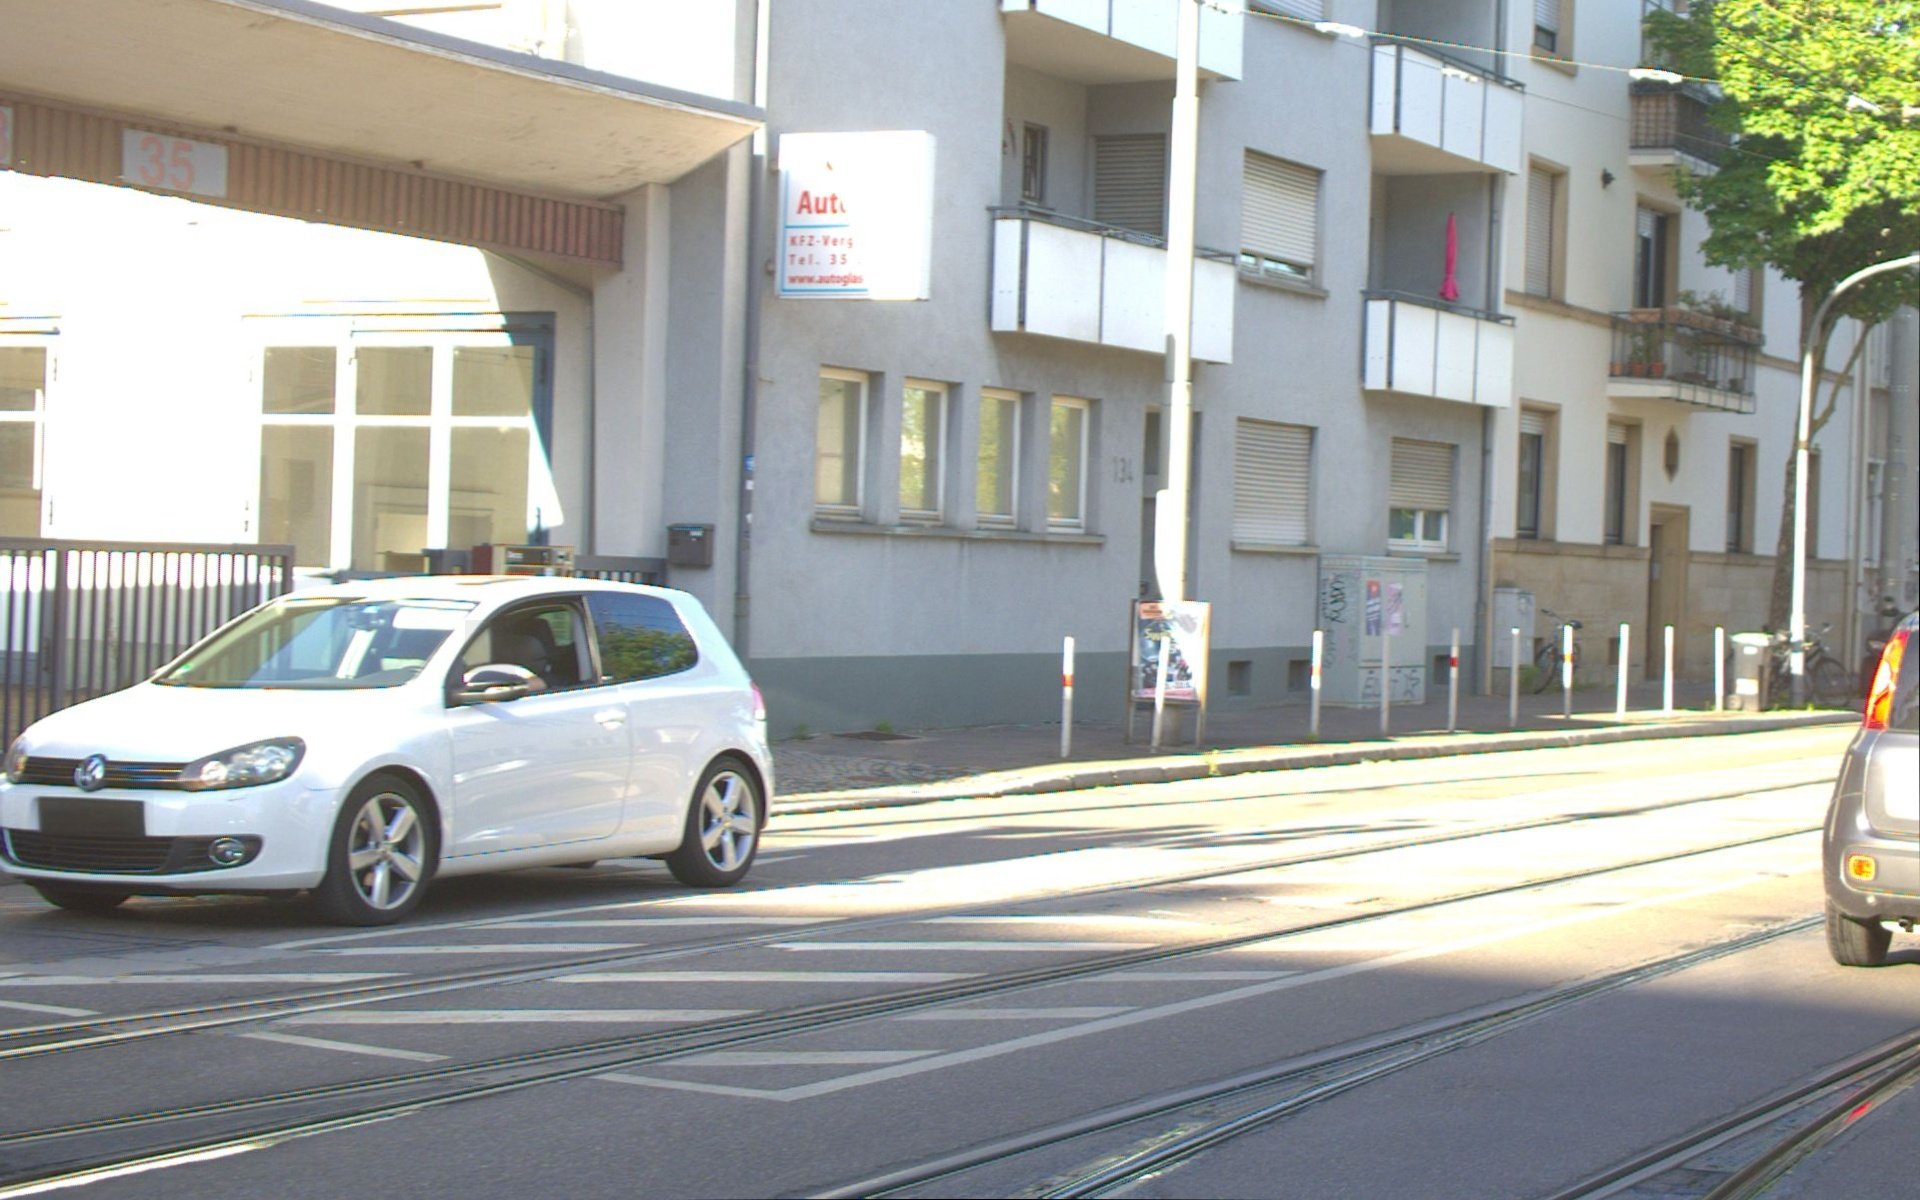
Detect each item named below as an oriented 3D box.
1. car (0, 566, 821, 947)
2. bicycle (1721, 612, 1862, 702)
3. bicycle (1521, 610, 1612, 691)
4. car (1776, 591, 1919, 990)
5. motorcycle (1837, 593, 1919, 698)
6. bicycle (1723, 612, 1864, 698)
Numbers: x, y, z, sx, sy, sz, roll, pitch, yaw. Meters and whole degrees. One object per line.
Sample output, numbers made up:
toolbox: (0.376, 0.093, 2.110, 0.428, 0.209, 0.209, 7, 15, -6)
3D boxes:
car: (-2.488, 0.599, 15.420, 1.793, 1.453, 4.183, 0, 0, 29)
bicycle: (10.439, 0.717, 43.186, 1.607, 1.040, 0.458, 3, 0, -3)
bicycle: (7.783, 0.635, 44.063, 0.507, 1.003, 2.017, 2, 1, 29)
car: (4.918, 0.769, 14.632, 1.734, 1.495, 3.993, 2, 0, 29)
motorcycle: (14.170, 0.662, 51.163, 1.460, 1.476, 3.097, 2, 1, 28)
bicycle: (10.882, 0.715, 44.935, 1.706, 1.030, 0.444, 3, 0, 9)
